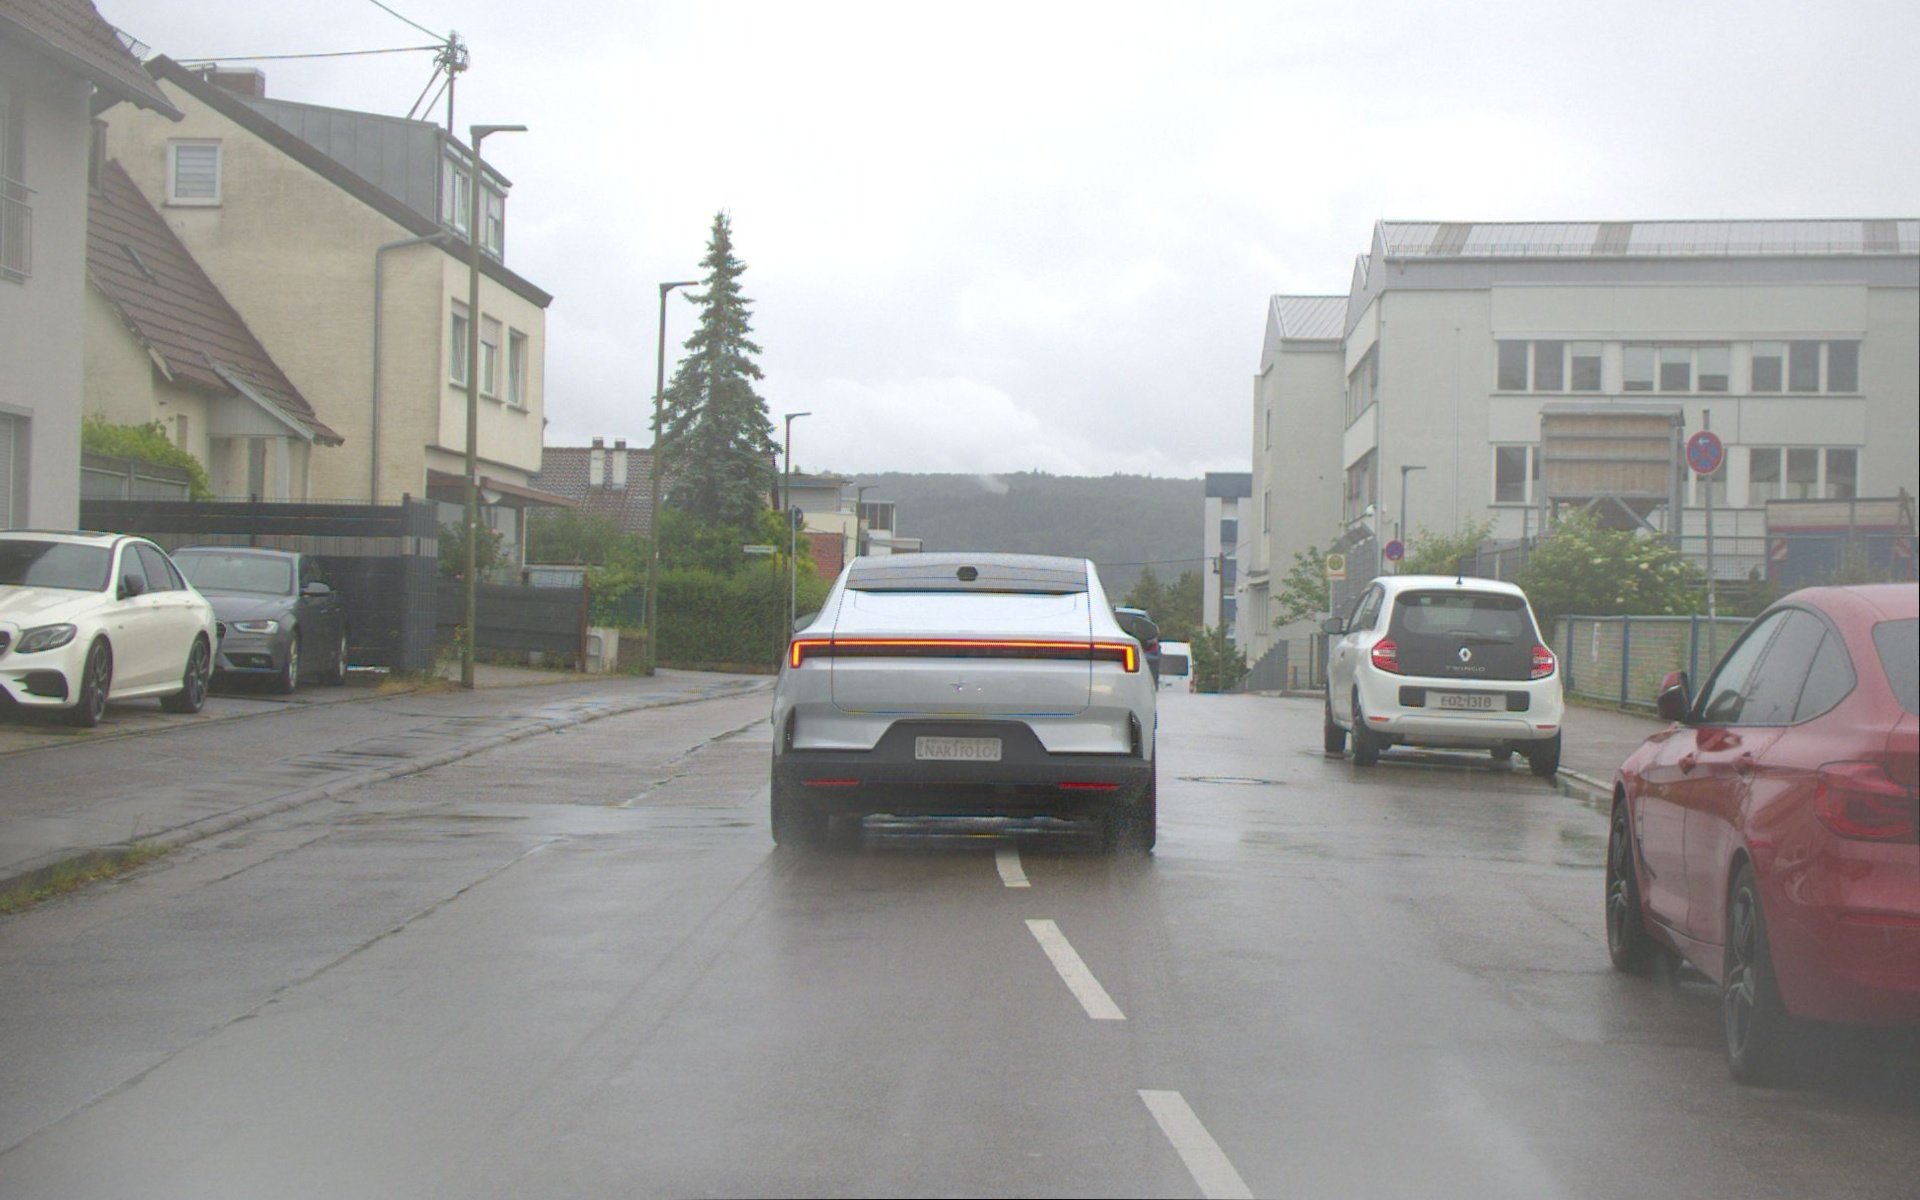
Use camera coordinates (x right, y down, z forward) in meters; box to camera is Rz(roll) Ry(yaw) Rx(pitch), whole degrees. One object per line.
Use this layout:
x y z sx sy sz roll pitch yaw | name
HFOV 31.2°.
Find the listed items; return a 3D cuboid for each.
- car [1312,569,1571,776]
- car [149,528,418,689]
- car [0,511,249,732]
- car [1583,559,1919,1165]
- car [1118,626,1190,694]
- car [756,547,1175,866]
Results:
3.959 0.551 28.763 1.681 1.552 3.674 2 1 2 | car
-6.682 0.044 34.409 1.826 1.364 4.570 5 1 -2 | car
-7.247 0.098 27.160 1.994 1.505 4.895 5 1 2 | car
3.177 0.683 11.260 1.643 1.569 4.643 2 1 4 | car
6.201 1.935 110.061 1.993 2.007 3.999 0 -3 -1 | car
-0.016 0.484 19.049 1.993 1.497 4.670 2 1 -1 | car
